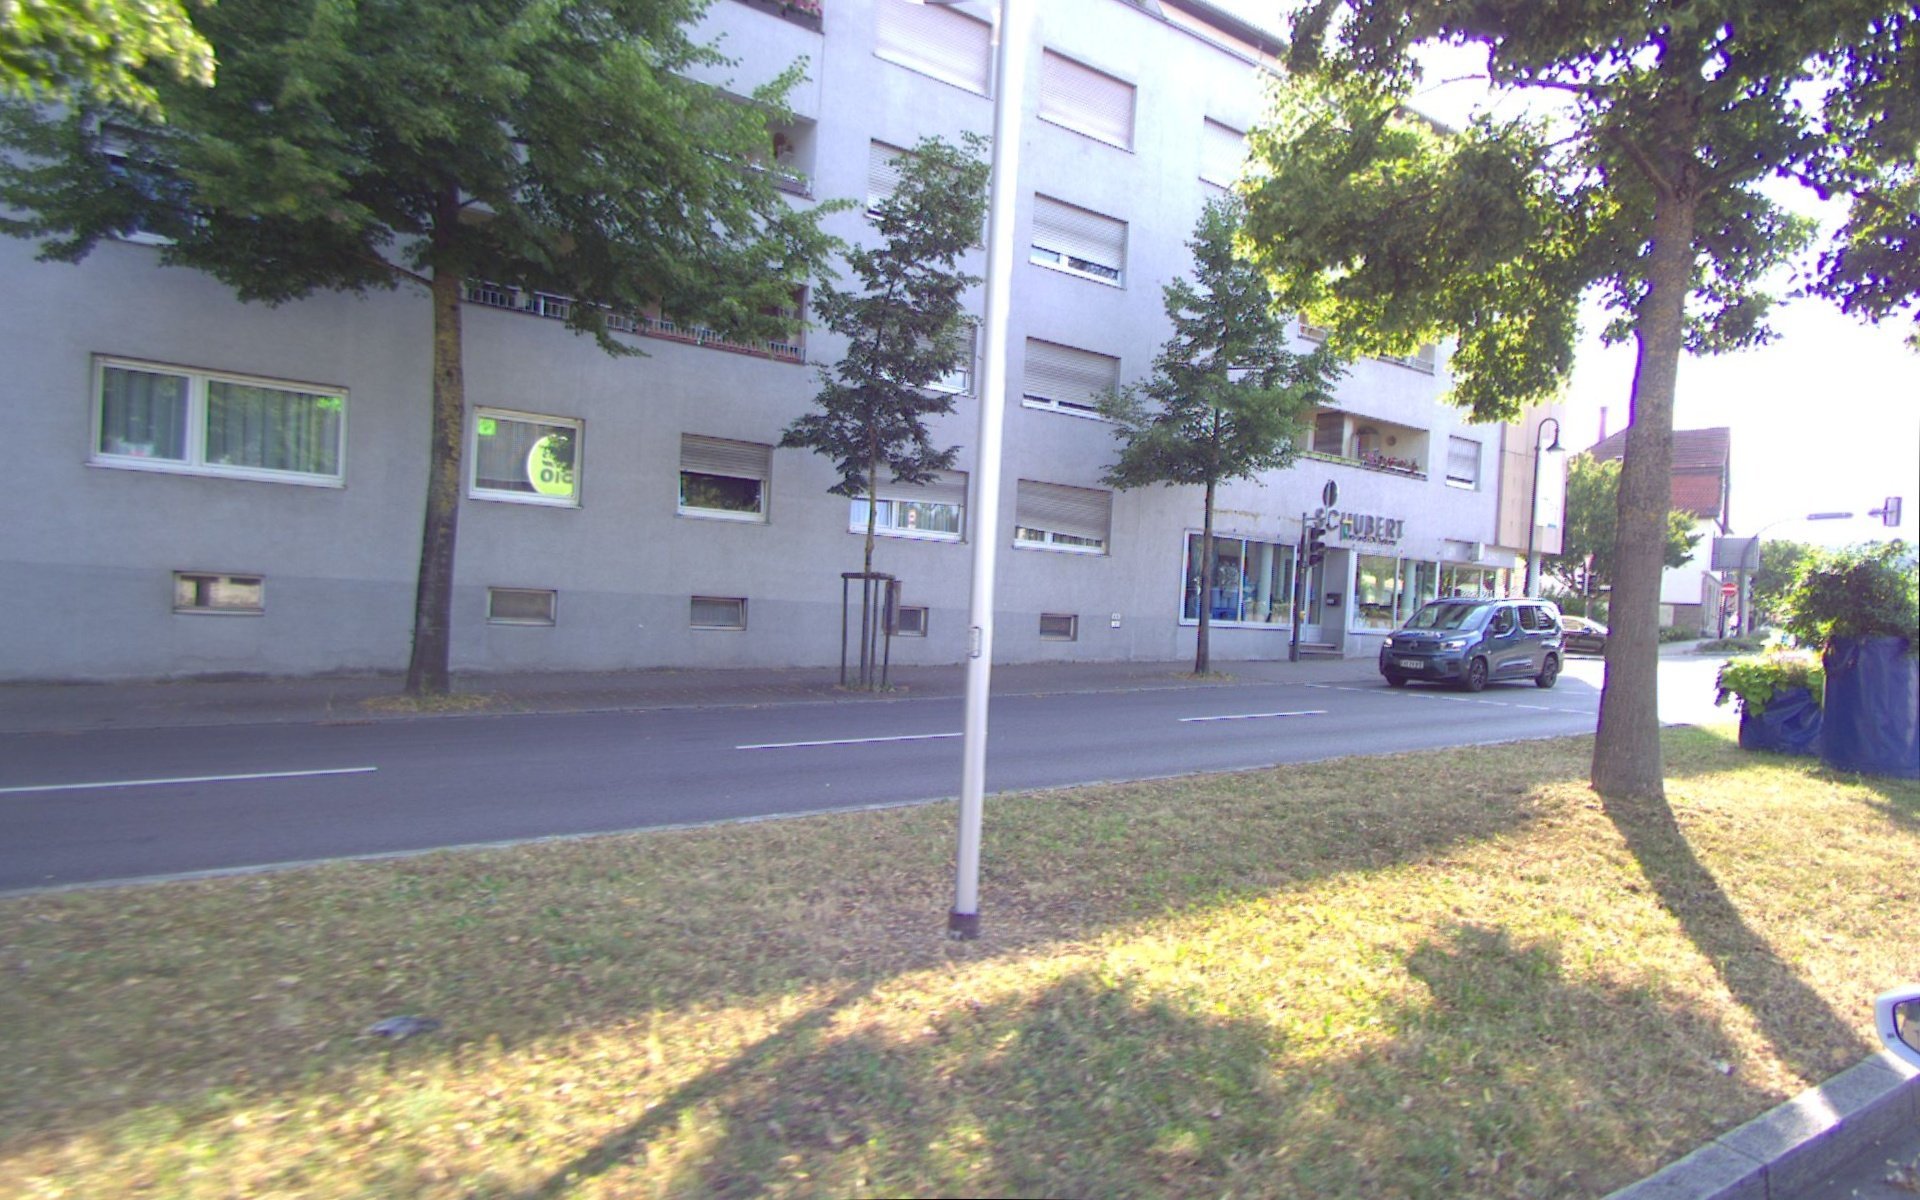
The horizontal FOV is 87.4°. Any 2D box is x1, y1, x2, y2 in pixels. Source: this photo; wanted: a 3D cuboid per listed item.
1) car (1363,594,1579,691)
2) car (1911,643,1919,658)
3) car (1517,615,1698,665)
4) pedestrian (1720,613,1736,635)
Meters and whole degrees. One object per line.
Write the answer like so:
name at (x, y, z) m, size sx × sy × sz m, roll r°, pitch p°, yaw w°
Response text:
car at (10.424, 0.837, 20.346) m, size 4.874 × 1.759 × 1.840 m, roll 2°, pitch 0°, yaw -35°
car at (115.220, 6.081, 120.386) m, size 1.711 × 1.701 × 3.977 m, roll 2°, pitch 0°, yaw 43°
car at (21.878, 1.323, 34.106) m, size 1.901 × 1.456 × 4.819 m, roll 2°, pitch -1°, yaw -39°
pedestrian at (50.383, 1.551, 65.893) m, size 0.803 × 1.413 × 0.703 m, roll 2°, pitch 0°, yaw 41°
